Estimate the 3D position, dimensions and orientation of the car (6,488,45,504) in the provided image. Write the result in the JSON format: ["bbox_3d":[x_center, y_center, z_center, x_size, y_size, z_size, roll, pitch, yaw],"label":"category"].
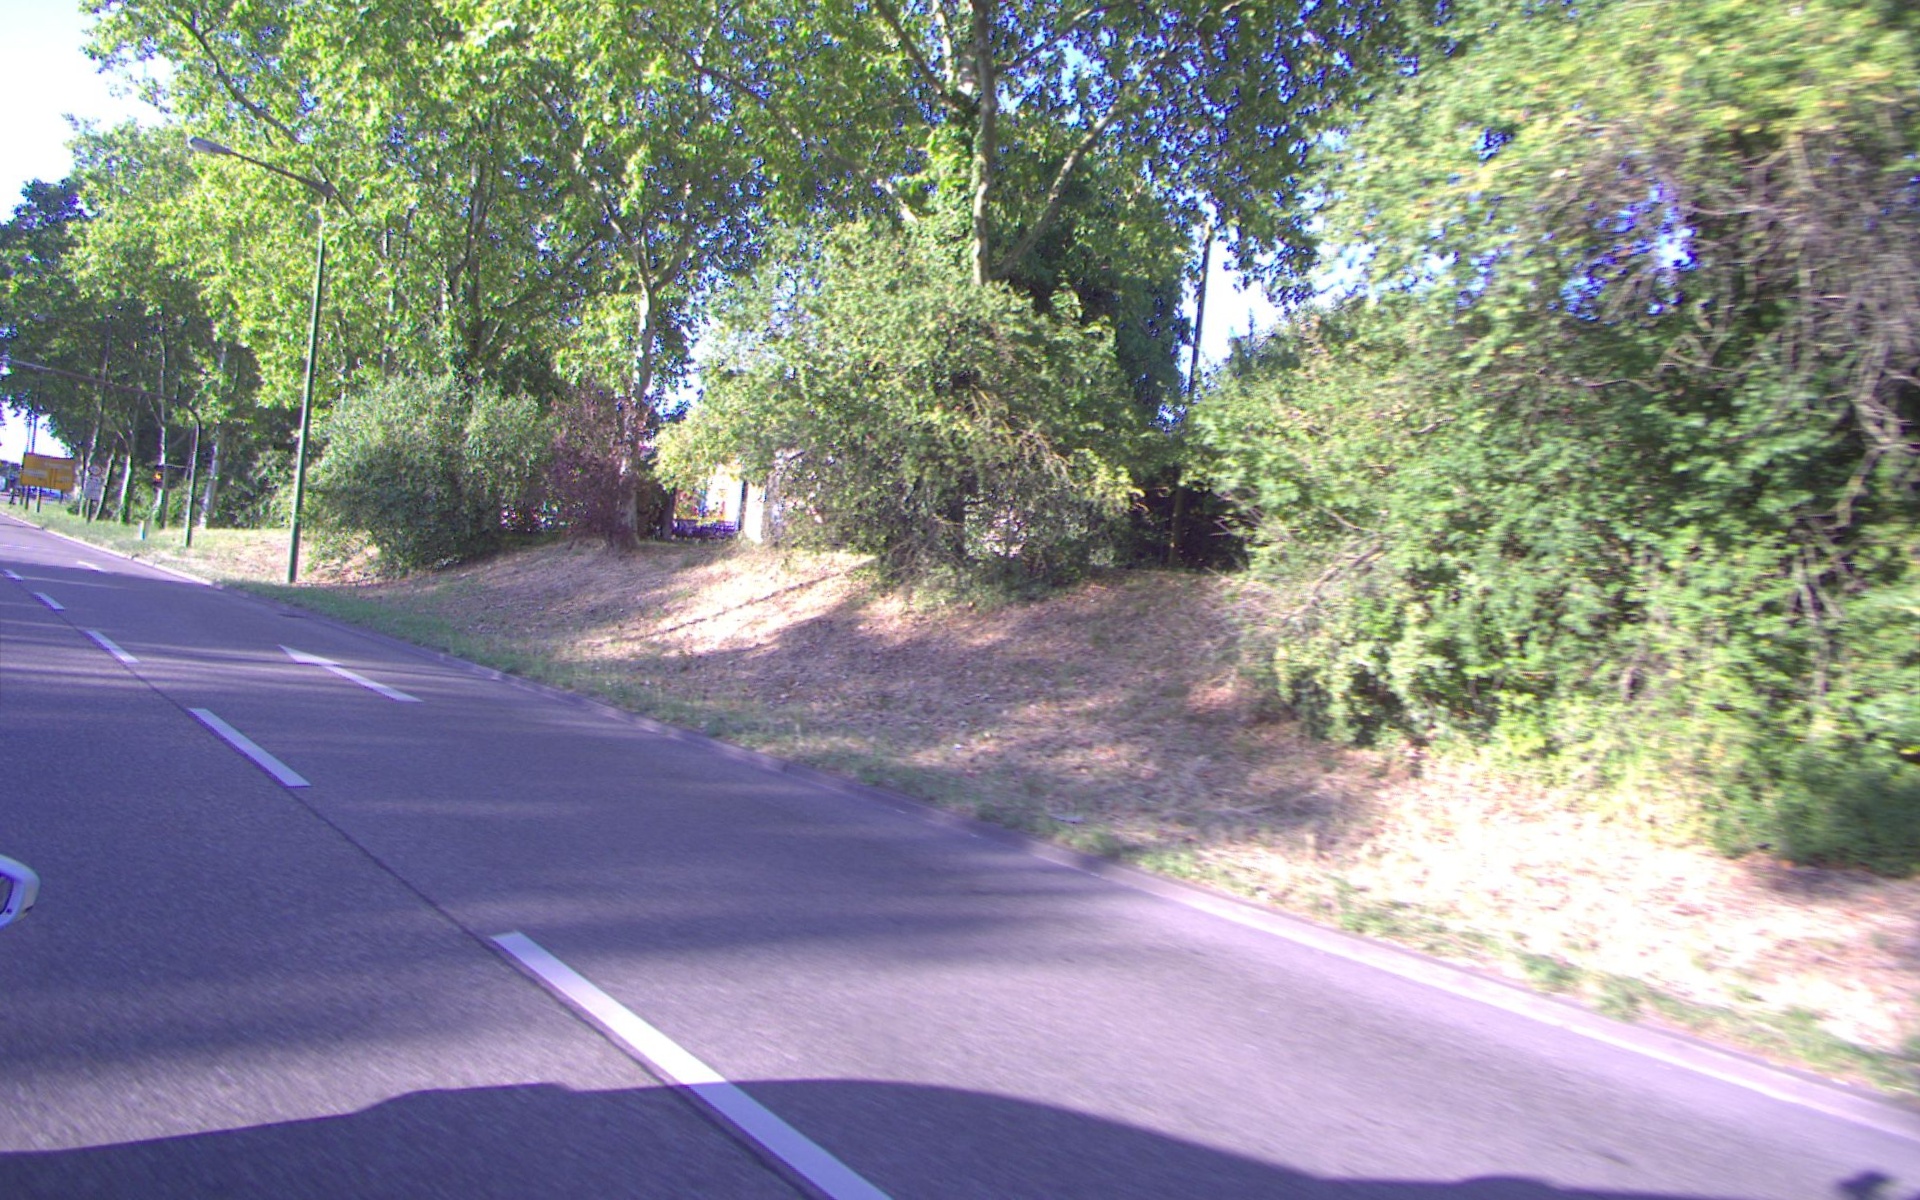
[{"bbox_3d":[-123.176,-13.647,132.638,1.767,1.419,3.686,7,-1,-6],"label":"car"}]
